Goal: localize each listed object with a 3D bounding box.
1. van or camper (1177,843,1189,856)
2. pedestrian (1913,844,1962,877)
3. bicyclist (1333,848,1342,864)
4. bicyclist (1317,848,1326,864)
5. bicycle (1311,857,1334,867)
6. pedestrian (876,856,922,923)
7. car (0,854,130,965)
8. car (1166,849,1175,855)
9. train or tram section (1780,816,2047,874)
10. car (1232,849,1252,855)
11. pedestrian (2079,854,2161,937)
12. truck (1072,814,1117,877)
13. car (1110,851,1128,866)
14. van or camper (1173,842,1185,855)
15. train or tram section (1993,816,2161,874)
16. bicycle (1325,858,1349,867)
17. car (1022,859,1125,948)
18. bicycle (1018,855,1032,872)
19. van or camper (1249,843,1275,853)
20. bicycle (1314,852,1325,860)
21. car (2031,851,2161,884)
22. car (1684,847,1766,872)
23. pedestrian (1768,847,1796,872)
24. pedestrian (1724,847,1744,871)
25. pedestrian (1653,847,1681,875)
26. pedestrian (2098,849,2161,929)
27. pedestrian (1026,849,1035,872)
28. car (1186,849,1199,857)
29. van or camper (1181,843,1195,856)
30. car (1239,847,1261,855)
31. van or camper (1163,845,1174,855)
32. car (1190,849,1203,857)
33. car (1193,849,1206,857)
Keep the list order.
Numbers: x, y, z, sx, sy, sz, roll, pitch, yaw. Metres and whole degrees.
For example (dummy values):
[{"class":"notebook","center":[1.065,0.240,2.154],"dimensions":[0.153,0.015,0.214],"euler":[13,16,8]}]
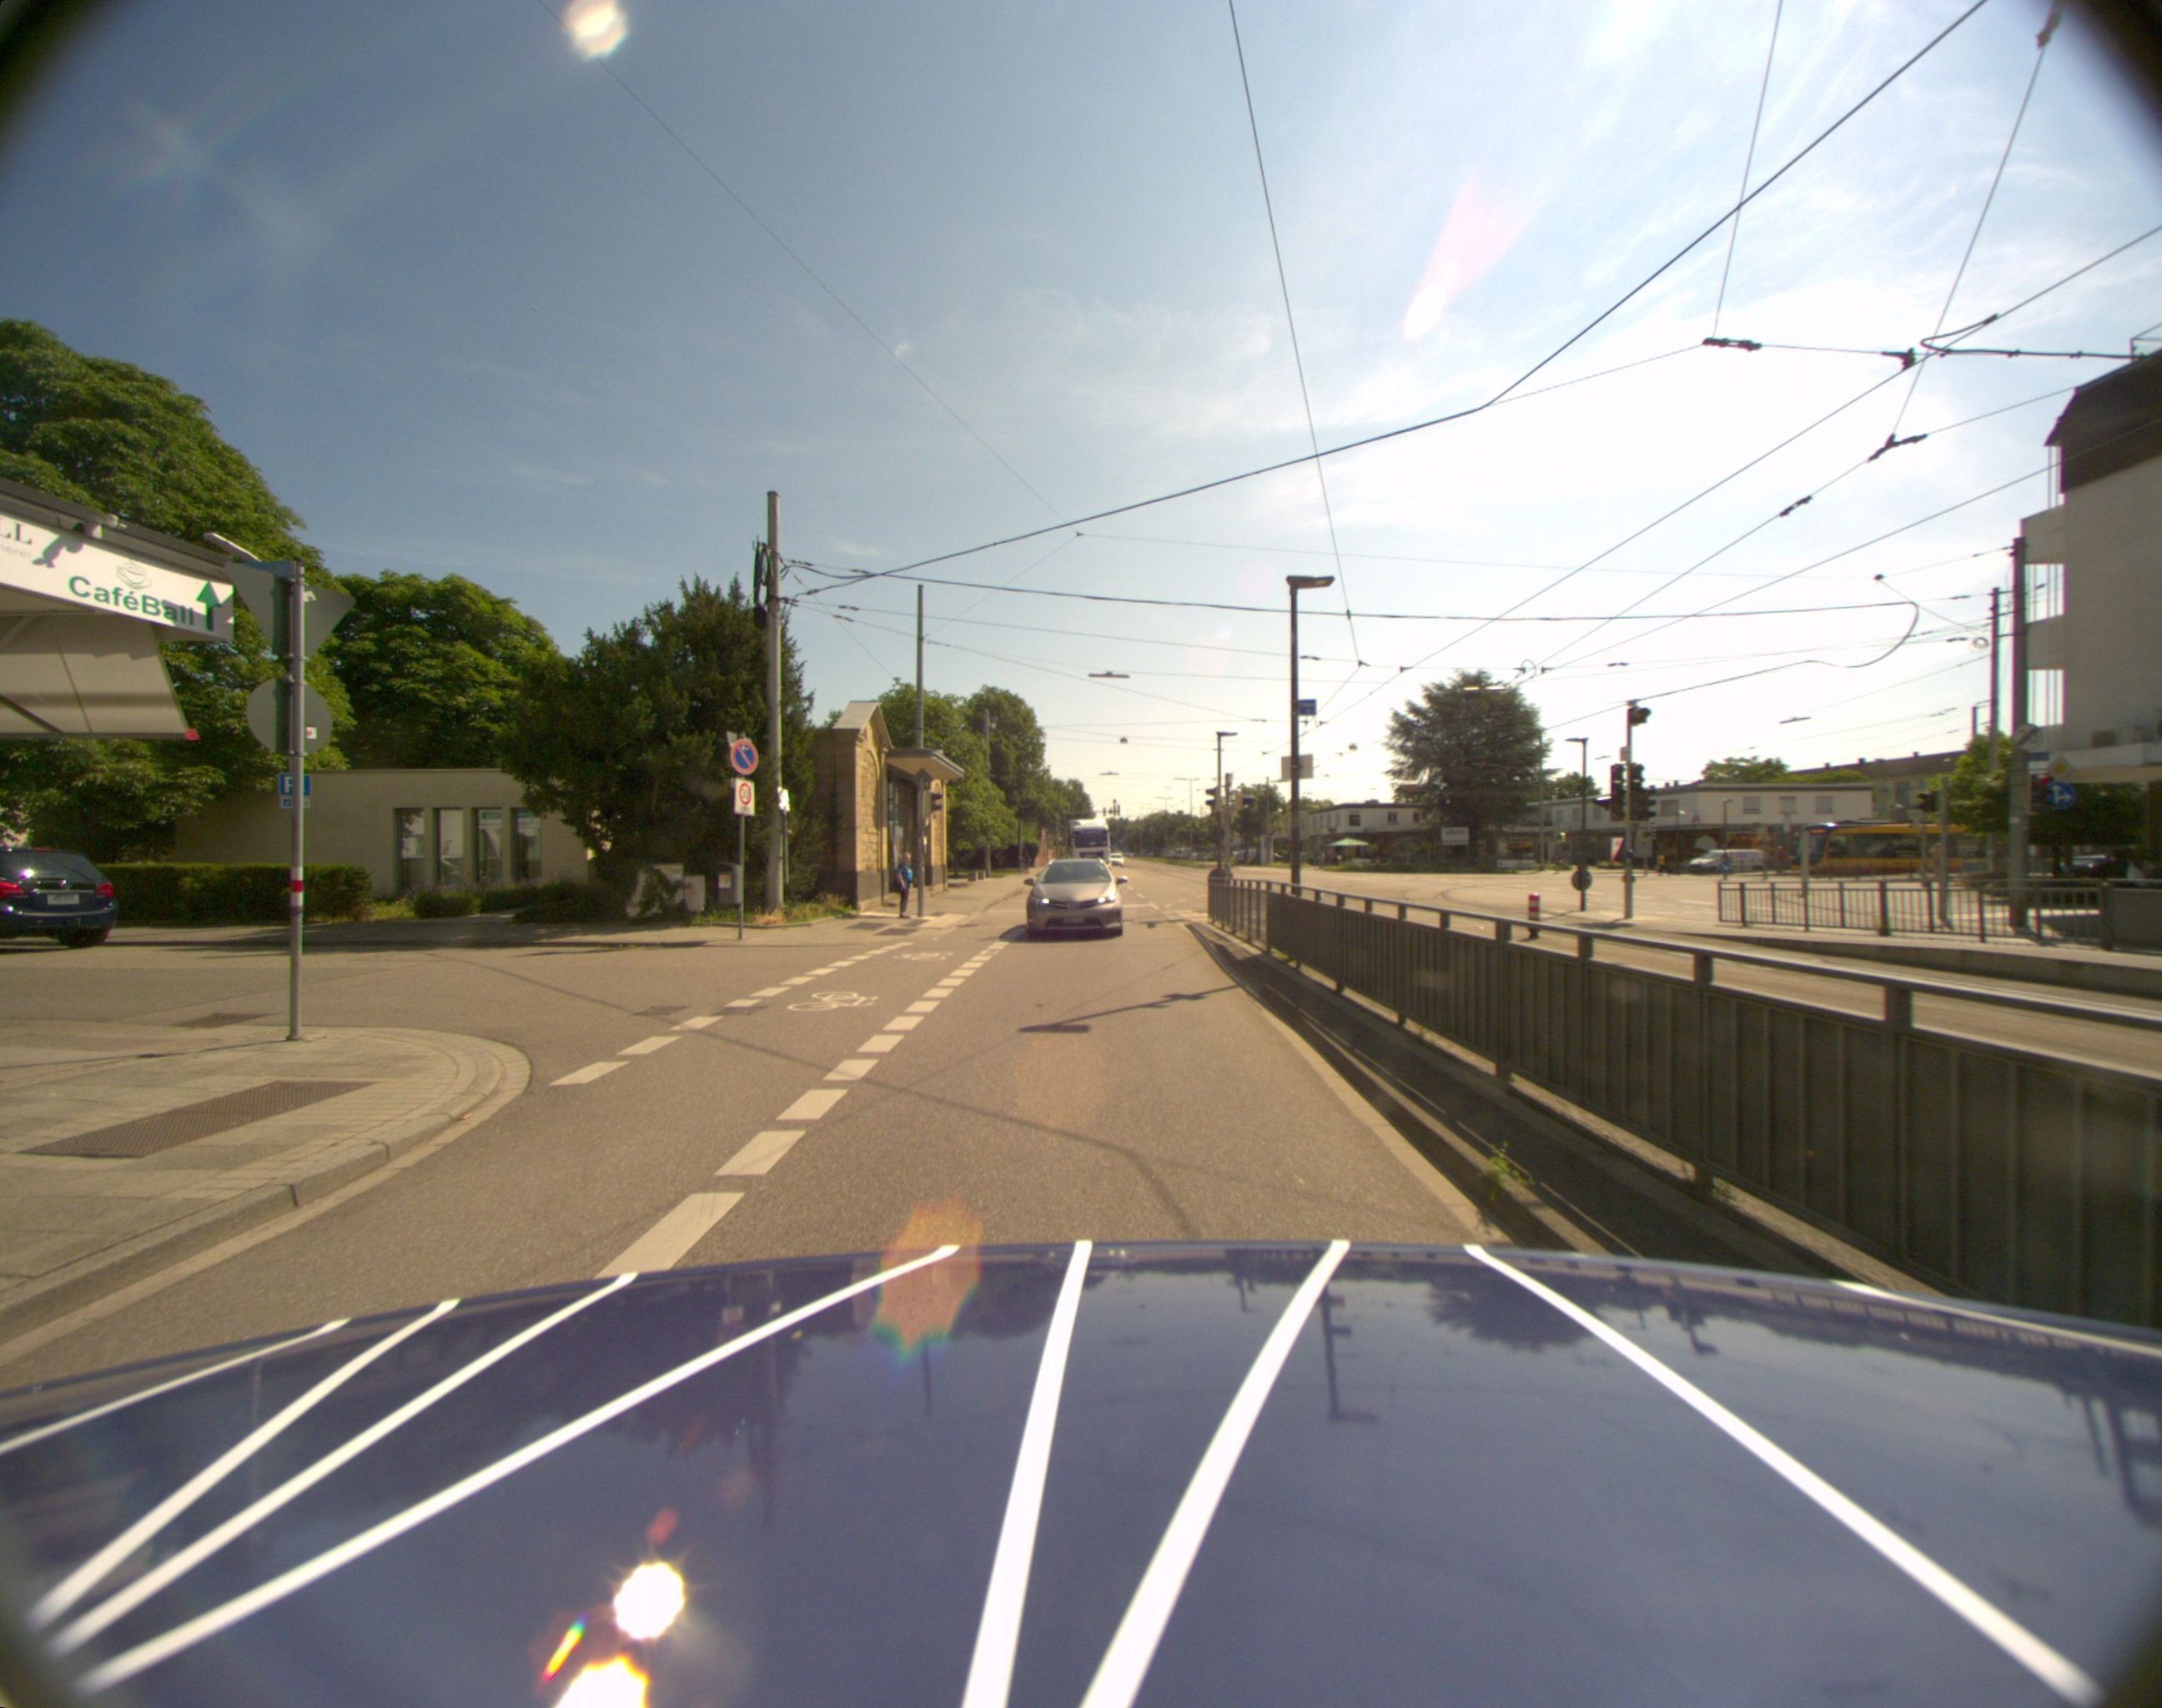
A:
[{"class":"van or camper","center":[21.724,-0.924,161.645],"dimensions":[2.040,2.617,4.839],"euler":[0,1,0]},{"class":"pedestrian","center":[48.590,0.370,43.107],"dimensions":[1.437,1.825,1.123],"euler":[0,1,3]},{"class":"bicyclist","center":[24.936,0.187,73.865],"dimensions":[0.764,1.565,0.632],"euler":[0,1,16]},{"class":"bicyclist","center":[23.632,0.149,74.735],"dimensions":[0.764,1.549,0.632],"euler":[2,1,16]},{"class":"bicycle","center":[23.739,0.773,74.788],"dimensions":[2.131,0.941,0.536],"euler":[0,1,18]},{"class":"pedestrian","center":[-4.228,0.809,17.683],"dimensions":[0.780,1.501,0.859],"euler":[0,1,9]},{"class":"car","center":[-17.069,0.796,11.208],"dimensions":[3.728,1.558,1.734],"euler":[0,-1,-3]},{"class":"car","center":[22.524,-0.554,190.838],"dimensions":[1.892,1.551,4.232],"euler":[0,0,0]},{"class":"train or tram section","center":[52.970,-0.568,48.562],"dimensions":[13.898,3.637,2.768],"euler":[0,1,0]},{"class":"car","center":[33.173,-0.495,156.775],"dimensions":[3.624,1.274,1.712],"euler":[0,1,-1]},{"class":"pedestrian","center":[21.161,0.818,15.493],"dimensions":[0.682,1.638,0.878],"euler":[-1,1,-45]},{"class":"truck","center":[0.936,-0.578,52.284],"dimensions":[2.746,3.852,9.110],"euler":[2,1,1]},{"class":"car","center":[4.213,0.493,84.652],"dimensions":[1.770,1.552,4.067],"euler":[1,1,1]},{"class":"van or camper","center":[21.849,-1.202,169.534],"dimensions":[2.128,2.968,5.281],"euler":[0,1,0]},{"class":"train or tram section","center":[66.852,-0.566,48.439],"dimensions":[13.898,3.637,2.768],"euler":[0,1,0]},{"class":"bicycle","center":[24.925,0.826,73.959],"dimensions":[2.131,0.885,0.576],"euler":[0,1,20]},{"class":"car","center":[-0.091,0.871,15.359],"dimensions":[1.742,1.424,4.462],"euler":[-2,1,1]},{"class":"bicycle","center":[-3.927,0.673,53.125],"dimensions":[0.537,1.105,1.808],"euler":[1,1,10]},{"class":"van or camper","center":[46.587,-1.535,195.702],"dimensions":[6.081,2.715,2.299],"euler":[0,1,3]},{"class":"bicycle","center":[29.048,0.261,92.718],"dimensions":[0.760,0.977,1.911],"euler":[0,1,1]},{"class":"car","center":[47.060,0.599,35.052],"dimensions":[4.183,1.491,1.828],"euler":[0,1,0]},{"class":"car","center":[48.877,0.430,57.697],"dimensions":[4.656,1.851,1.776],"euler":[0,1,1]},{"class":"pedestrian","center":[47.209,0.361,51.179],"dimensions":[1.093,1.671,0.813],"euler":[0,1,1]},{"class":"pedestrian","center":[44.103,0.330,51.340],"dimensions":[0.659,1.617,0.785],"euler":[0,1,1]},{"class":"pedestrian","center":[39.658,0.471,51.433],"dimensions":[1.201,1.827,0.896],"euler":[0,1,1]},{"class":"pedestrian","center":[22.127,0.723,15.900],"dimensions":[0.680,1.638,0.732],"euler":[0,1,0]},{"class":"pedestrian","center":[-3.547,0.455,53.283],"dimensions":[0.542,1.540,0.663],"euler":[2,1,0]},{"class":"car","center":[21.873,-0.160,149.290],"dimensions":[1.892,1.486,4.232],"euler":[0,0,0]},{"class":"van or camper","center":[21.741,-0.828,154.590],"dimensions":[2.040,2.617,4.839],"euler":[0,1,0]},{"class":"car","center":[31.875,-0.561,143.419],"dimensions":[3.749,1.560,1.950],"euler":[0,1,-1]},{"class":"van or camper","center":[22.759,-1.069,197.710],"dimensions":[2.114,2.604,5.451],"euler":[1,1,1]},{"class":"car","center":[21.889,-0.156,144.039],"dimensions":[1.892,1.551,4.285],"euler":[0,0,0]},{"class":"car","center":[21.626,-0.201,138.656],"dimensions":[1.892,1.486,4.285],"euler":[-3,0,2]}]
